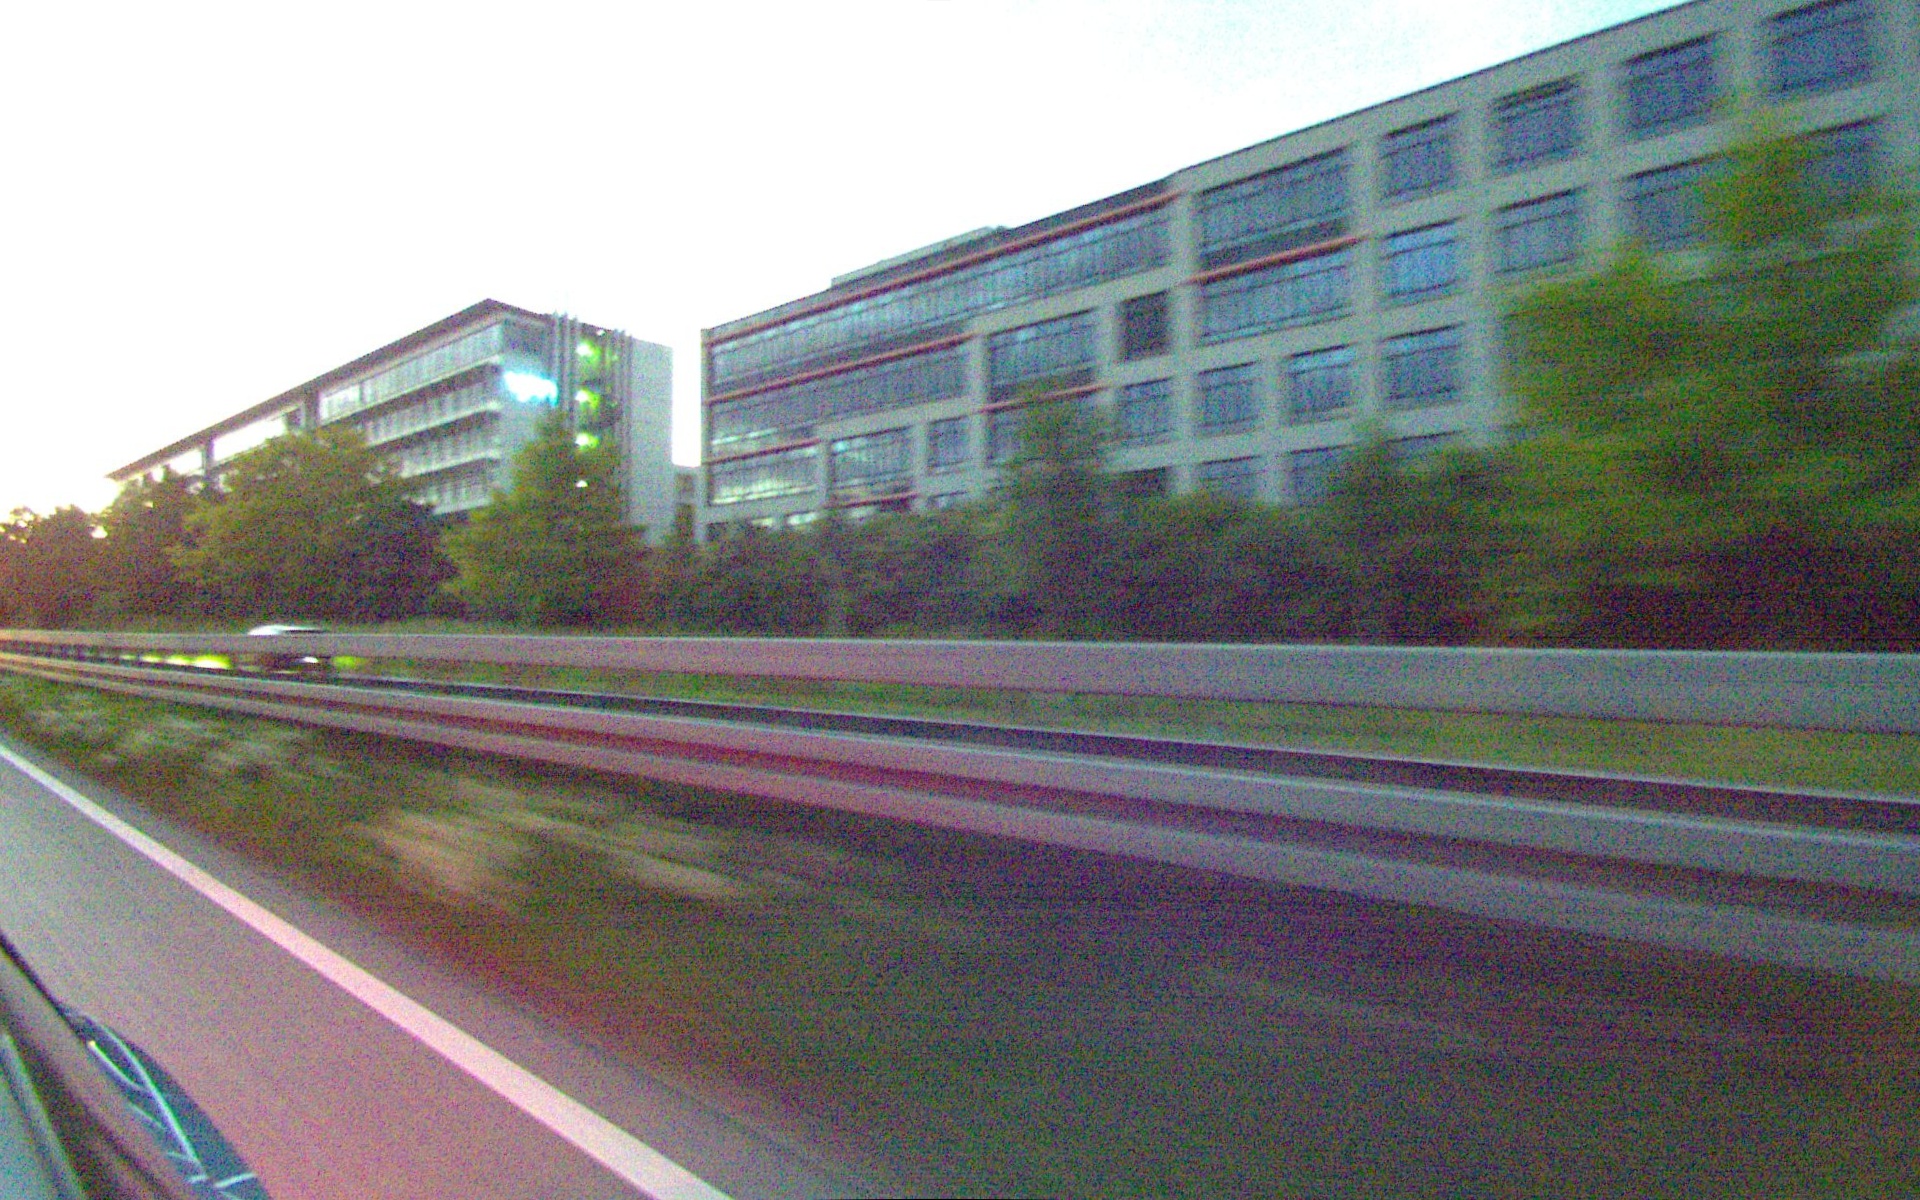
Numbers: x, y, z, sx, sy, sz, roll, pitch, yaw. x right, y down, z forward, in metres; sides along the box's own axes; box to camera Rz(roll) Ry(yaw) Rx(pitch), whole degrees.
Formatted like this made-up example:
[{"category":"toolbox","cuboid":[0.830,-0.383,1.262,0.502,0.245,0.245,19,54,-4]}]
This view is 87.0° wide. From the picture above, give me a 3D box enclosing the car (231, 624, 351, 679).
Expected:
[{"category":"car","cuboid":[-19.364,1.498,29.239,3.842,1.480,1.816,-2,-4,40]}]
